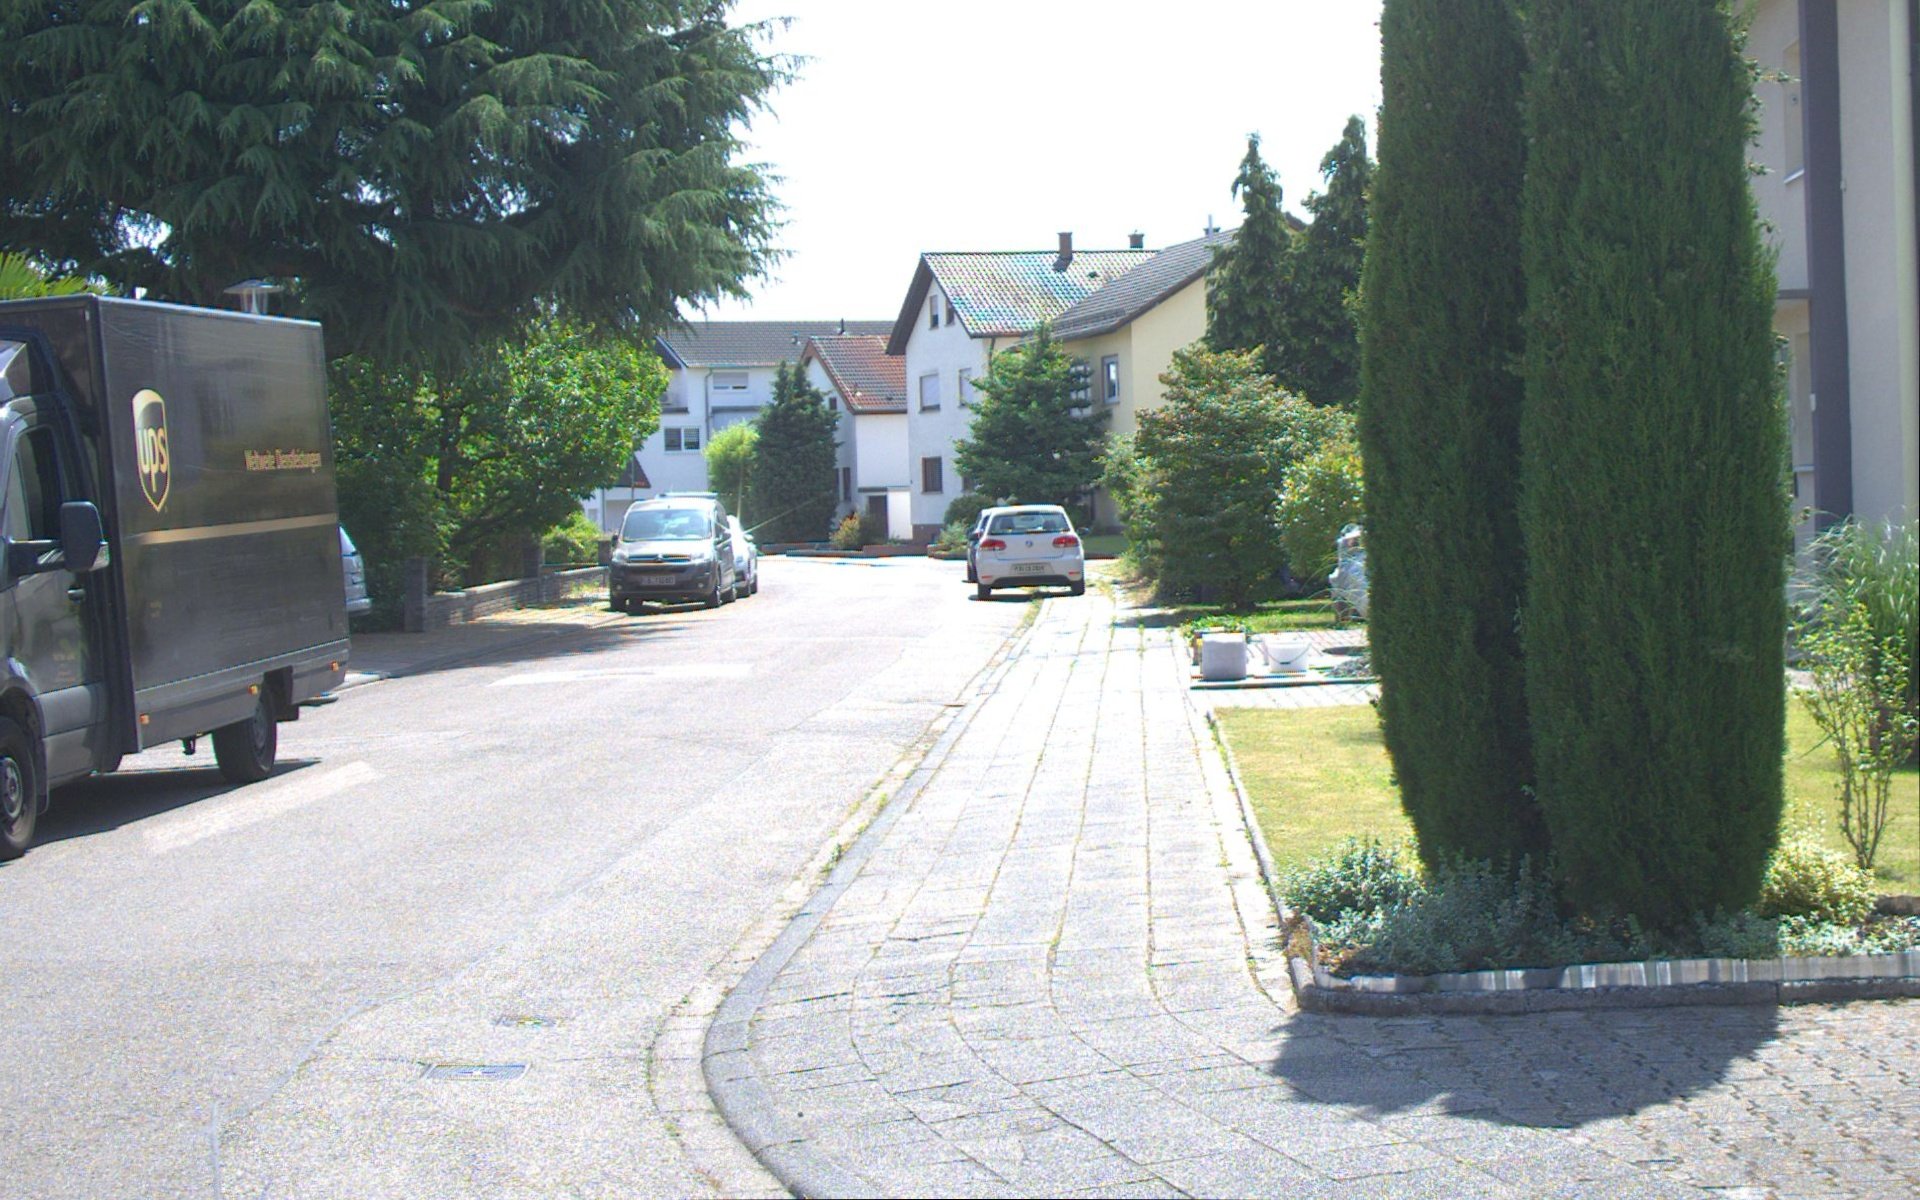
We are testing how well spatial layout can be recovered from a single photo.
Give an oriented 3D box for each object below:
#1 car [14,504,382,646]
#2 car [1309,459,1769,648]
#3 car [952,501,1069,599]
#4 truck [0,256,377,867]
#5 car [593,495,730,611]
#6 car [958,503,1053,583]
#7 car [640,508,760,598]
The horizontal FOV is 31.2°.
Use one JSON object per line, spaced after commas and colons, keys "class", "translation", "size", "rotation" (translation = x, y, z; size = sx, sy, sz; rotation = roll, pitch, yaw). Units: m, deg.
{"class": "car", "translation": [-9.719, -0.334, 44.009], "size": [4.193, 1.647, 1.814], "rotation": [-2, 2, 6]}
{"class": "car", "translation": [5.210, -0.439, 31.323], "size": [3.914, 1.504, 1.774], "rotation": [-2, 2, 4]}
{"class": "car", "translation": [0.800, -0.846, 56.238], "size": [1.808, 1.490, 4.000], "rotation": [-2, 2, 0]}
{"class": "truck", "translation": [-5.371, -0.210, 18.763], "size": [2.434, 2.778, 7.298], "rotation": [-4, 2, 4]}
{"class": "car", "translation": [-4.824, -0.798, 55.994], "size": [1.808, 1.756, 4.207], "rotation": [-2, 2, 0]}
{"class": "car", "translation": [0.893, -1.161, 69.012], "size": [1.808, 1.490, 4.000], "rotation": [-2, 2, 0]}
{"class": "car", "translation": [-4.647, -0.878, 61.938], "size": [1.808, 1.490, 4.000], "rotation": [-2, 2, 0]}
